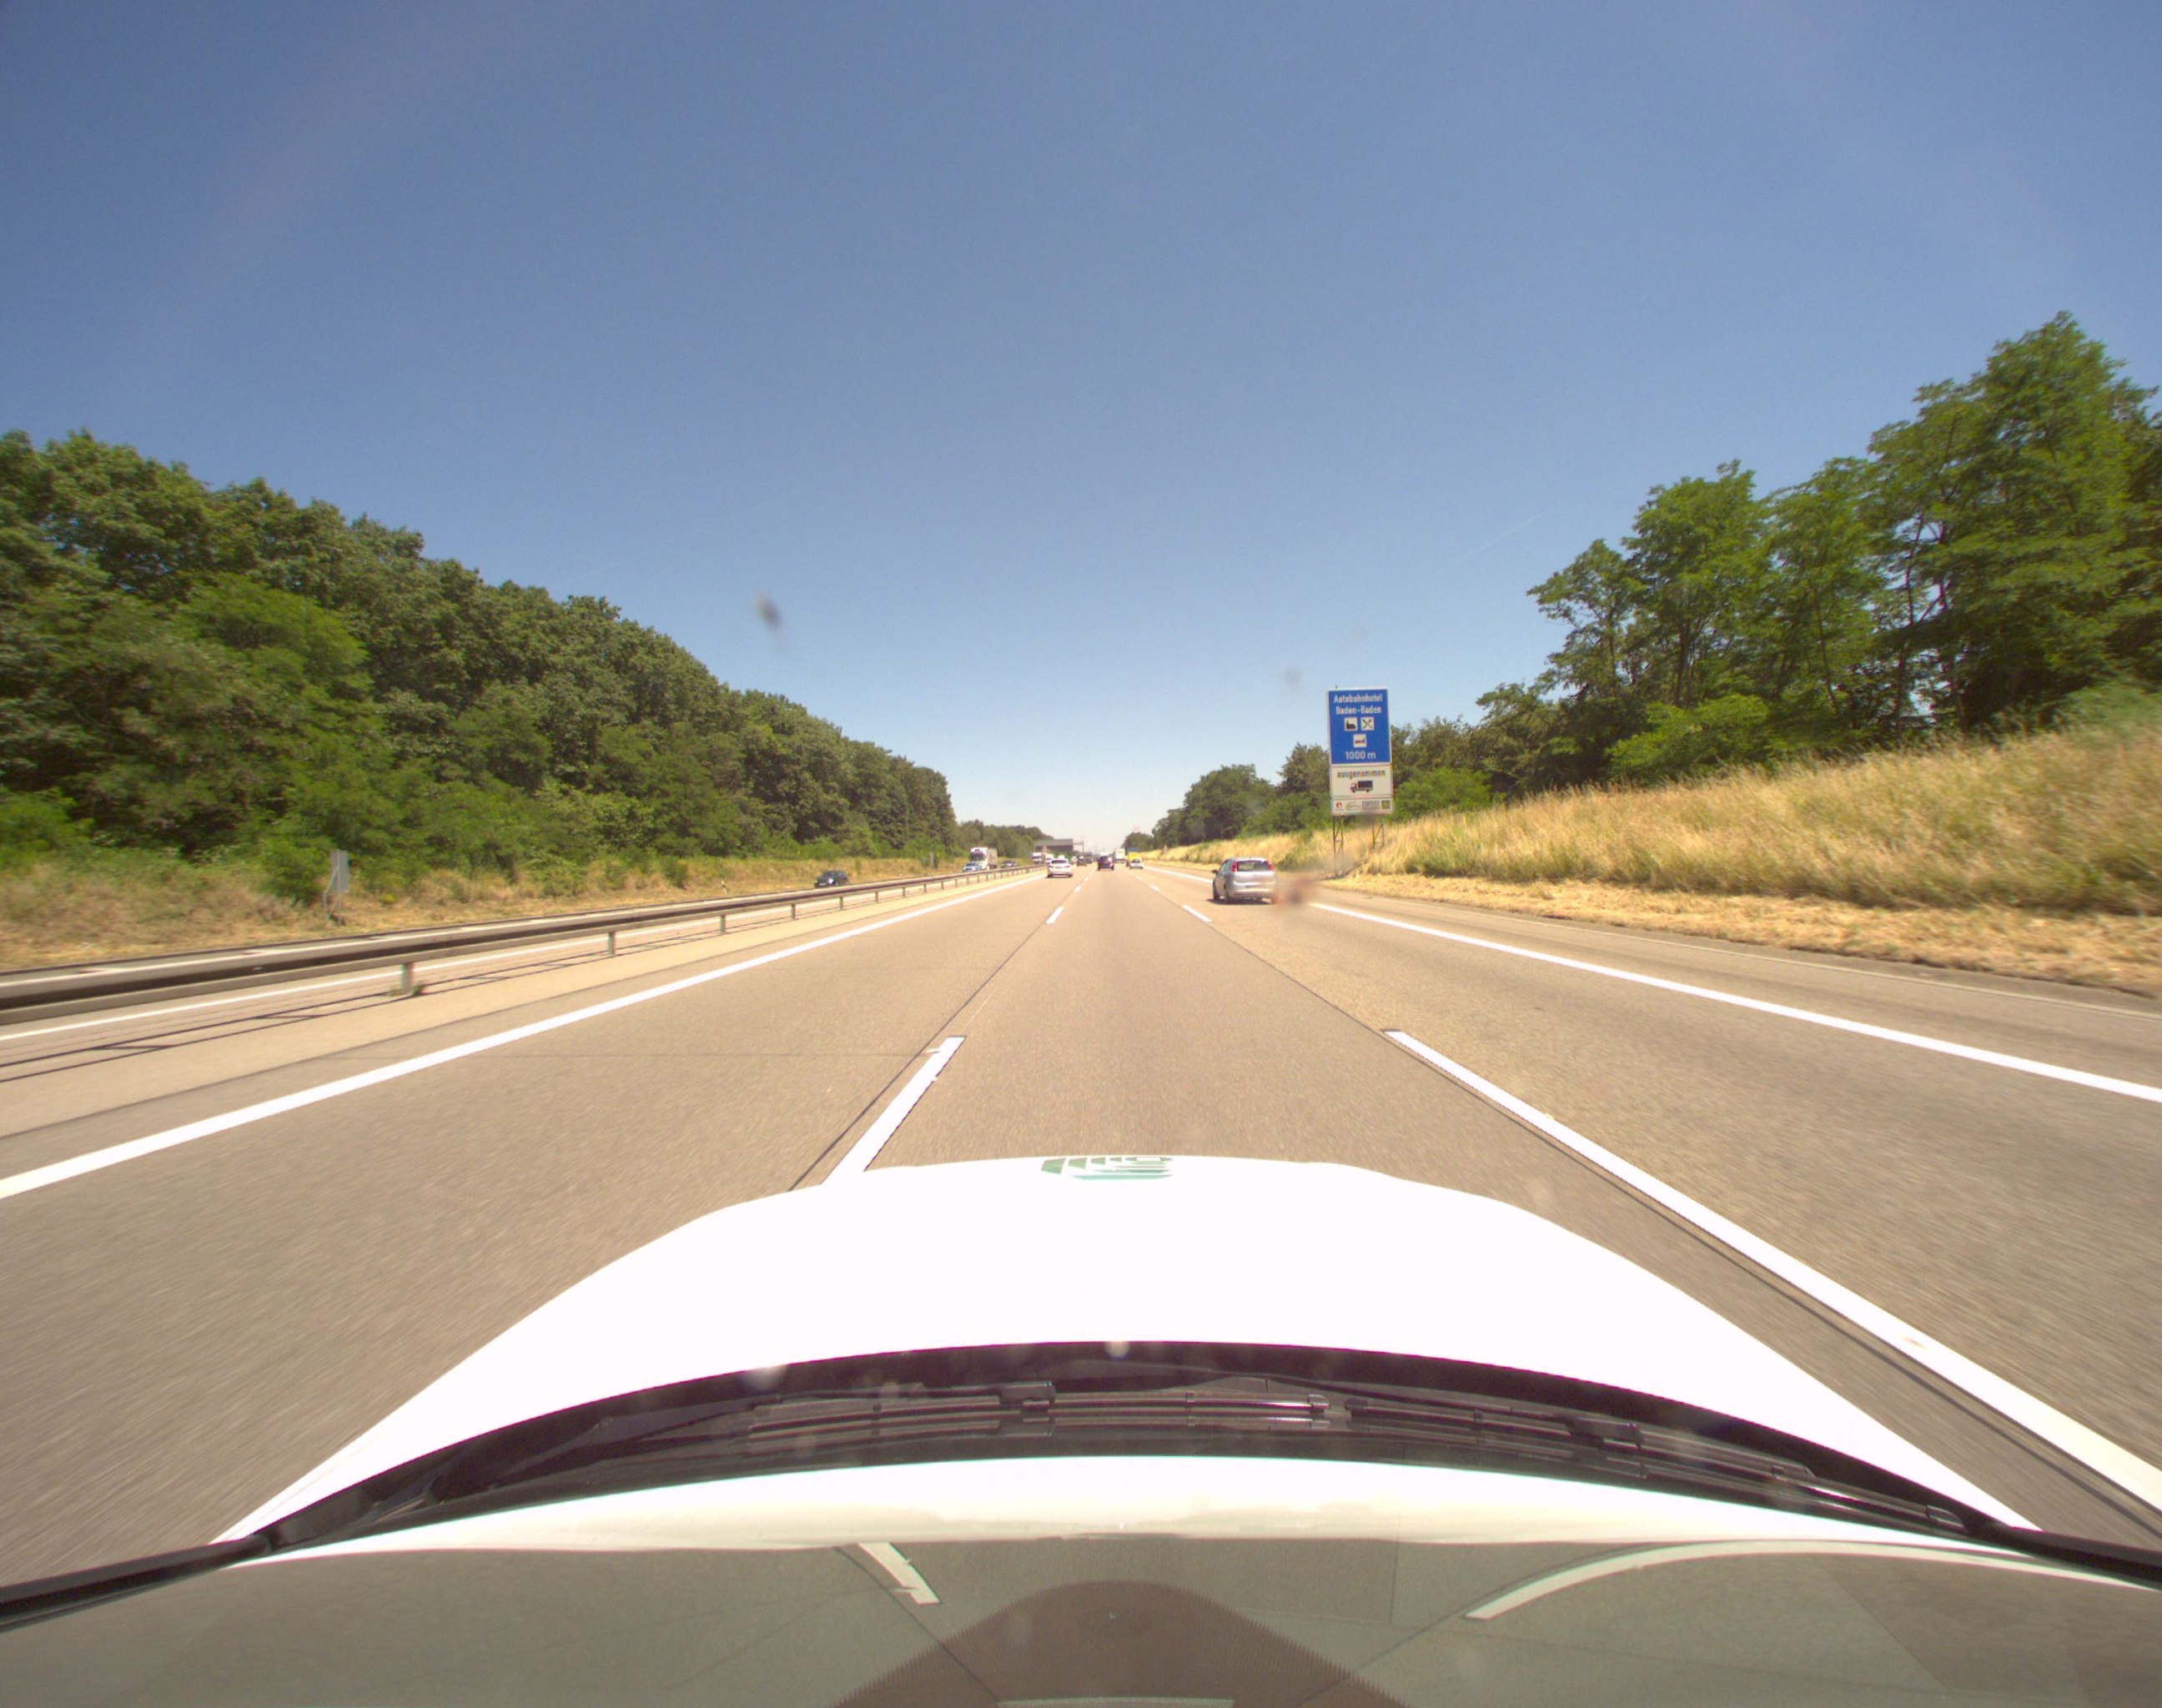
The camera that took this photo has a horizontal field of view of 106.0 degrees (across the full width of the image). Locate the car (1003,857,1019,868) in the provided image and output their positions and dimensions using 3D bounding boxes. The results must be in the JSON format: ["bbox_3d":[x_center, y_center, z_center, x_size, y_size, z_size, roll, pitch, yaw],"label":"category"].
[{"bbox_3d":[-11.368,1.328,132.817,1.986,1.567,5.192,-4,0,2],"label":"car"}]

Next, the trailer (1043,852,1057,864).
[{"bbox_3d":[-9.368,1.227,249.057,3.422,3.344,12.025,-2,0,1],"label":"trailer"}]

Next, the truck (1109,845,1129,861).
[{"bbox_3d":[10.441,-0.357,225.403,3.986,4.315,9.863,0,0,-5],"label":"truck"}]

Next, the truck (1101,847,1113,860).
[{"bbox_3d":[5.961,-0.163,186.852,2.421,2.884,6.204,-1,-1,0],"label":"truck"}]

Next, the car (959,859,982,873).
[{"bbox_3d":[-13.685,1.449,101.019,1.986,1.567,4.530,-4,0,2],"label":"car"}]

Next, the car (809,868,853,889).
[{"bbox_3d":[-18.846,1.834,61.588,1.807,1.395,4.113,-4,0,2],"label":"car"}]

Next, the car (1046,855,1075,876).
[{"bbox_3d":[-1.585,0.865,63.818,1.956,1.503,5.406,-1,0,1],"label":"car"}]

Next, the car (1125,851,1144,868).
[{"bbox_3d":[8.696,0.912,132.078,2.658,2.634,6.112,-1,-1,0],"label":"car"}]

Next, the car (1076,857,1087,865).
[{"bbox_3d":[0.093,1.263,147.632,1.825,1.431,5.001,-1,0,2],"label":"car"}]

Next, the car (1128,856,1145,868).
[{"bbox_3d":[7.066,0.965,103.657,1.816,1.491,3.736,-1,-1,-1],"label":"car"}]

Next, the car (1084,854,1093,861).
[{"bbox_3d":[1.787,0.780,198.255,1.868,1.580,3.931,-1,1,3],"label":"car"}]

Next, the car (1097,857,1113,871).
[{"bbox_3d":[2.798,1.154,95.269,1.826,1.672,3.999,0,0,0],"label":"car"}]

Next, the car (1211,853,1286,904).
[{"bbox_3d":[5.360,0.740,26.474,1.713,1.491,3.737,-1,1,1],"label":"car"}]

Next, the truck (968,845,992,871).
[{"bbox_3d":[-16.958,0.645,137.160,2.894,4.067,5.654,-4,0,1],"label":"truck"}]
